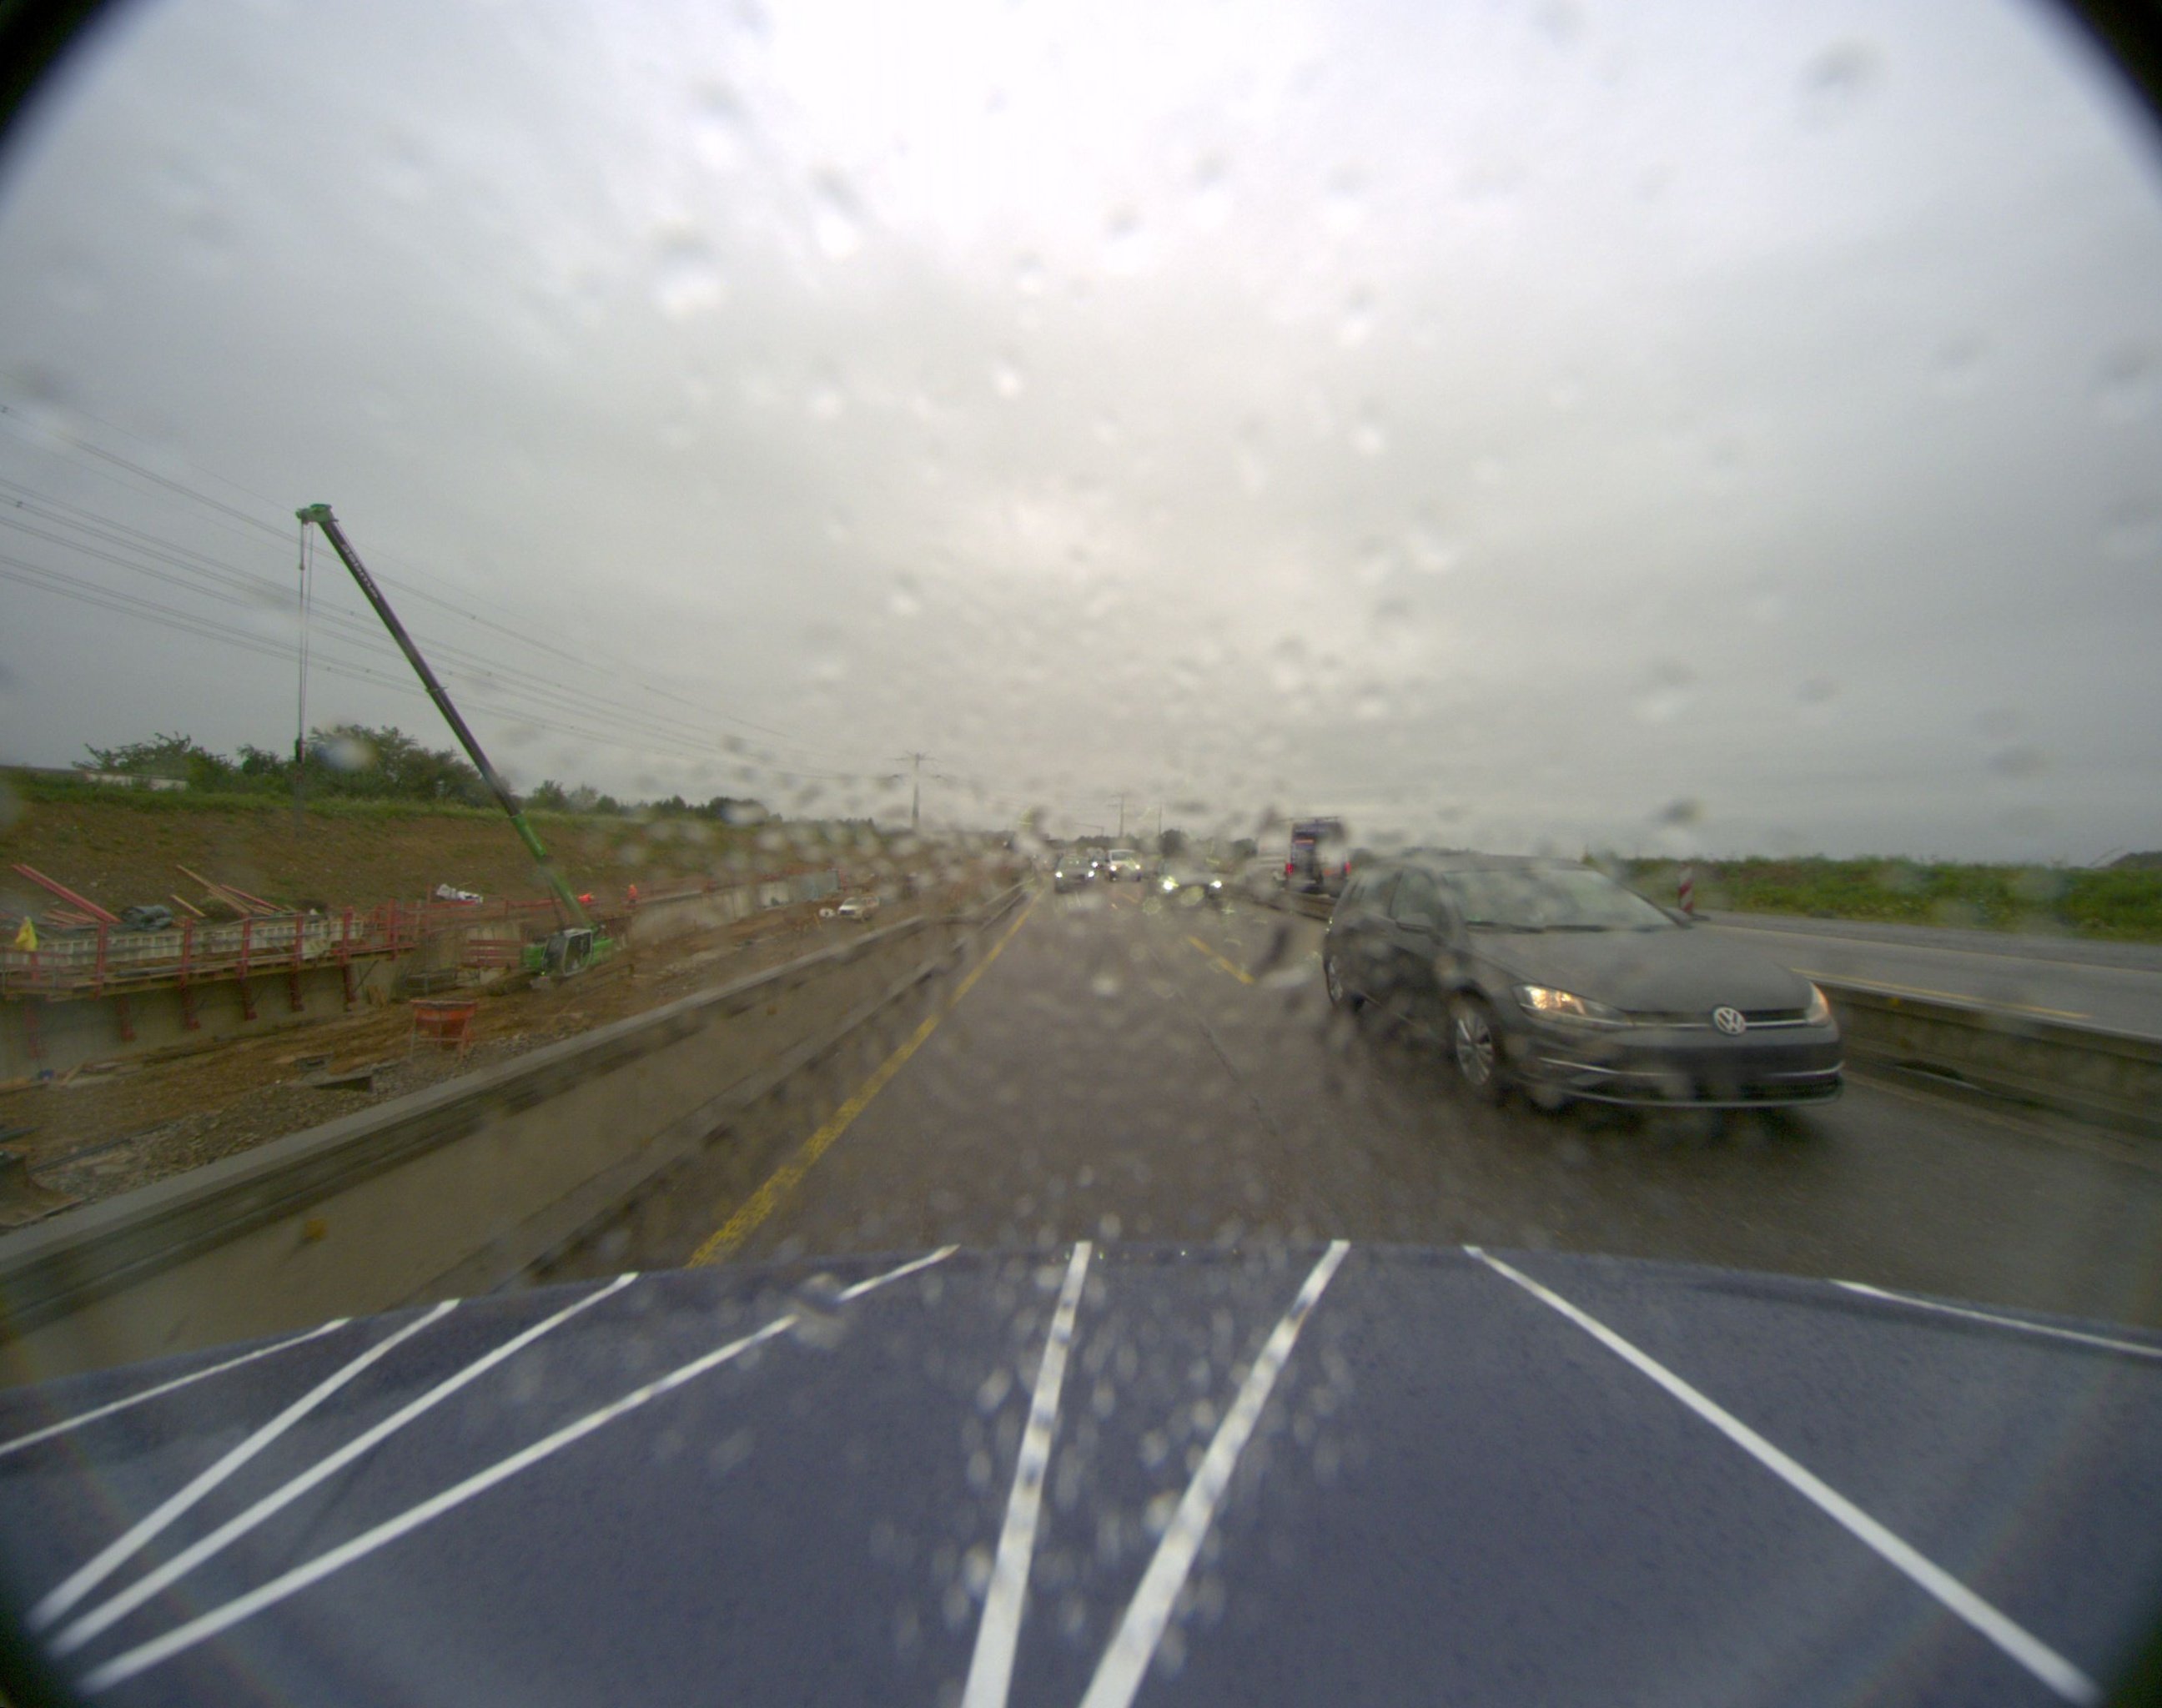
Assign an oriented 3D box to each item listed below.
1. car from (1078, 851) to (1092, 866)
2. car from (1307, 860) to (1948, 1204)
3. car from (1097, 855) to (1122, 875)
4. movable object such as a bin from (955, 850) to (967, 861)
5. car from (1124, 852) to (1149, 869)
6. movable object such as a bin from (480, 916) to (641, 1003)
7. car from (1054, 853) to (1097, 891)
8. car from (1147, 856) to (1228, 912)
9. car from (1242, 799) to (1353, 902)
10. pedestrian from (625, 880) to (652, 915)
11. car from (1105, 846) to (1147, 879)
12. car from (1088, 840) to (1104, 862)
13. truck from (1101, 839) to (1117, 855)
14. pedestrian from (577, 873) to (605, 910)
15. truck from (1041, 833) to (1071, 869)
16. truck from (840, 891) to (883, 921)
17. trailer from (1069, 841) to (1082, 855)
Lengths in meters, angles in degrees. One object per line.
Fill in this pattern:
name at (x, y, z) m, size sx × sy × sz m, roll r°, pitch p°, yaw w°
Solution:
car at (0.510, 0.563, 101.408) m, size 1.799 × 1.851 × 4.286 m, roll -2°, pitch 1°, yaw 0°
car at (3.086, 0.824, 5.475) m, size 1.654 × 1.414 × 4.079 m, roll -2°, pitch 1°, yaw 0°
car at (2.336, 0.894, 63.056) m, size 1.800 × 1.521 × 4.066 m, roll -2°, pitch 1°, yaw 0°
movable object such as a bin at (-29.186, 0.378, 184.895) m, size 2.252 × 2.704 × 3.998 m, roll -2°, pitch 1°, yaw -4°
car at (5.273, 0.572, 72.360) m, size 1.899 × 1.488 × 4.580 m, roll -2°, pitch 1°, yaw -1°
movable object such as a bin at (-23.280, 4.642, 34.390) m, size 3.802 × 2.790 × 4.849 m, roll -1°, pitch 6°, yaw -2°
car at (-0.203, 0.778, 34.358) m, size 1.799 × 1.524 × 4.307 m, roll -2°, pitch 0°, yaw 1°
car at (3.106, 0.824, 22.938) m, size 1.800 × 1.389 × 4.268 m, roll -2°, pitch 1°, yaw 0°
car at (7.062, -0.108, 25.522) m, size 1.998 × 2.995 × 5.779 m, roll -2°, pitch 0°, yaw 0°
pedestrian at (-30.289, 2.992, 52.034) m, size 0.917 × 2.219 × 1.006 m, roll -6°, pitch 2°, yaw 3°
car at (2.700, 0.456, 46.632) m, size 2.161 × 1.848 × 5.178 m, roll -2°, pitch 1°, yaw 0°
car at (2.202, -0.467, 114.303) m, size 1.999 × 3.028 × 7.169 m, roll -2°, pitch 0°, yaw -2°
truck at (5.018, -1.258, 136.965) m, size 2.365 × 2.878 × 6.546 m, roll 0°, pitch 1°, yaw -2°
pedestrian at (-31.570, 2.414, 48.993) m, size 0.918 × 2.233 × 1.005 m, roll -6°, pitch 2°, yaw -4°
truck at (-2.633, -0.374, 81.121) m, size 2.837 × 3.617 × 9.117 m, roll -2°, pitch 1°, yaw -1°
truck at (-17.242, 4.049, 59.875) m, size 1.767 × 1.860 × 5.785 m, roll 0°, pitch 1°, yaw -1°
trailer at (-1.749, -1.748, 232.985) m, size 2.794 × 4.176 × 13.668 m, roll -1°, pitch 0°, yaw -4°
